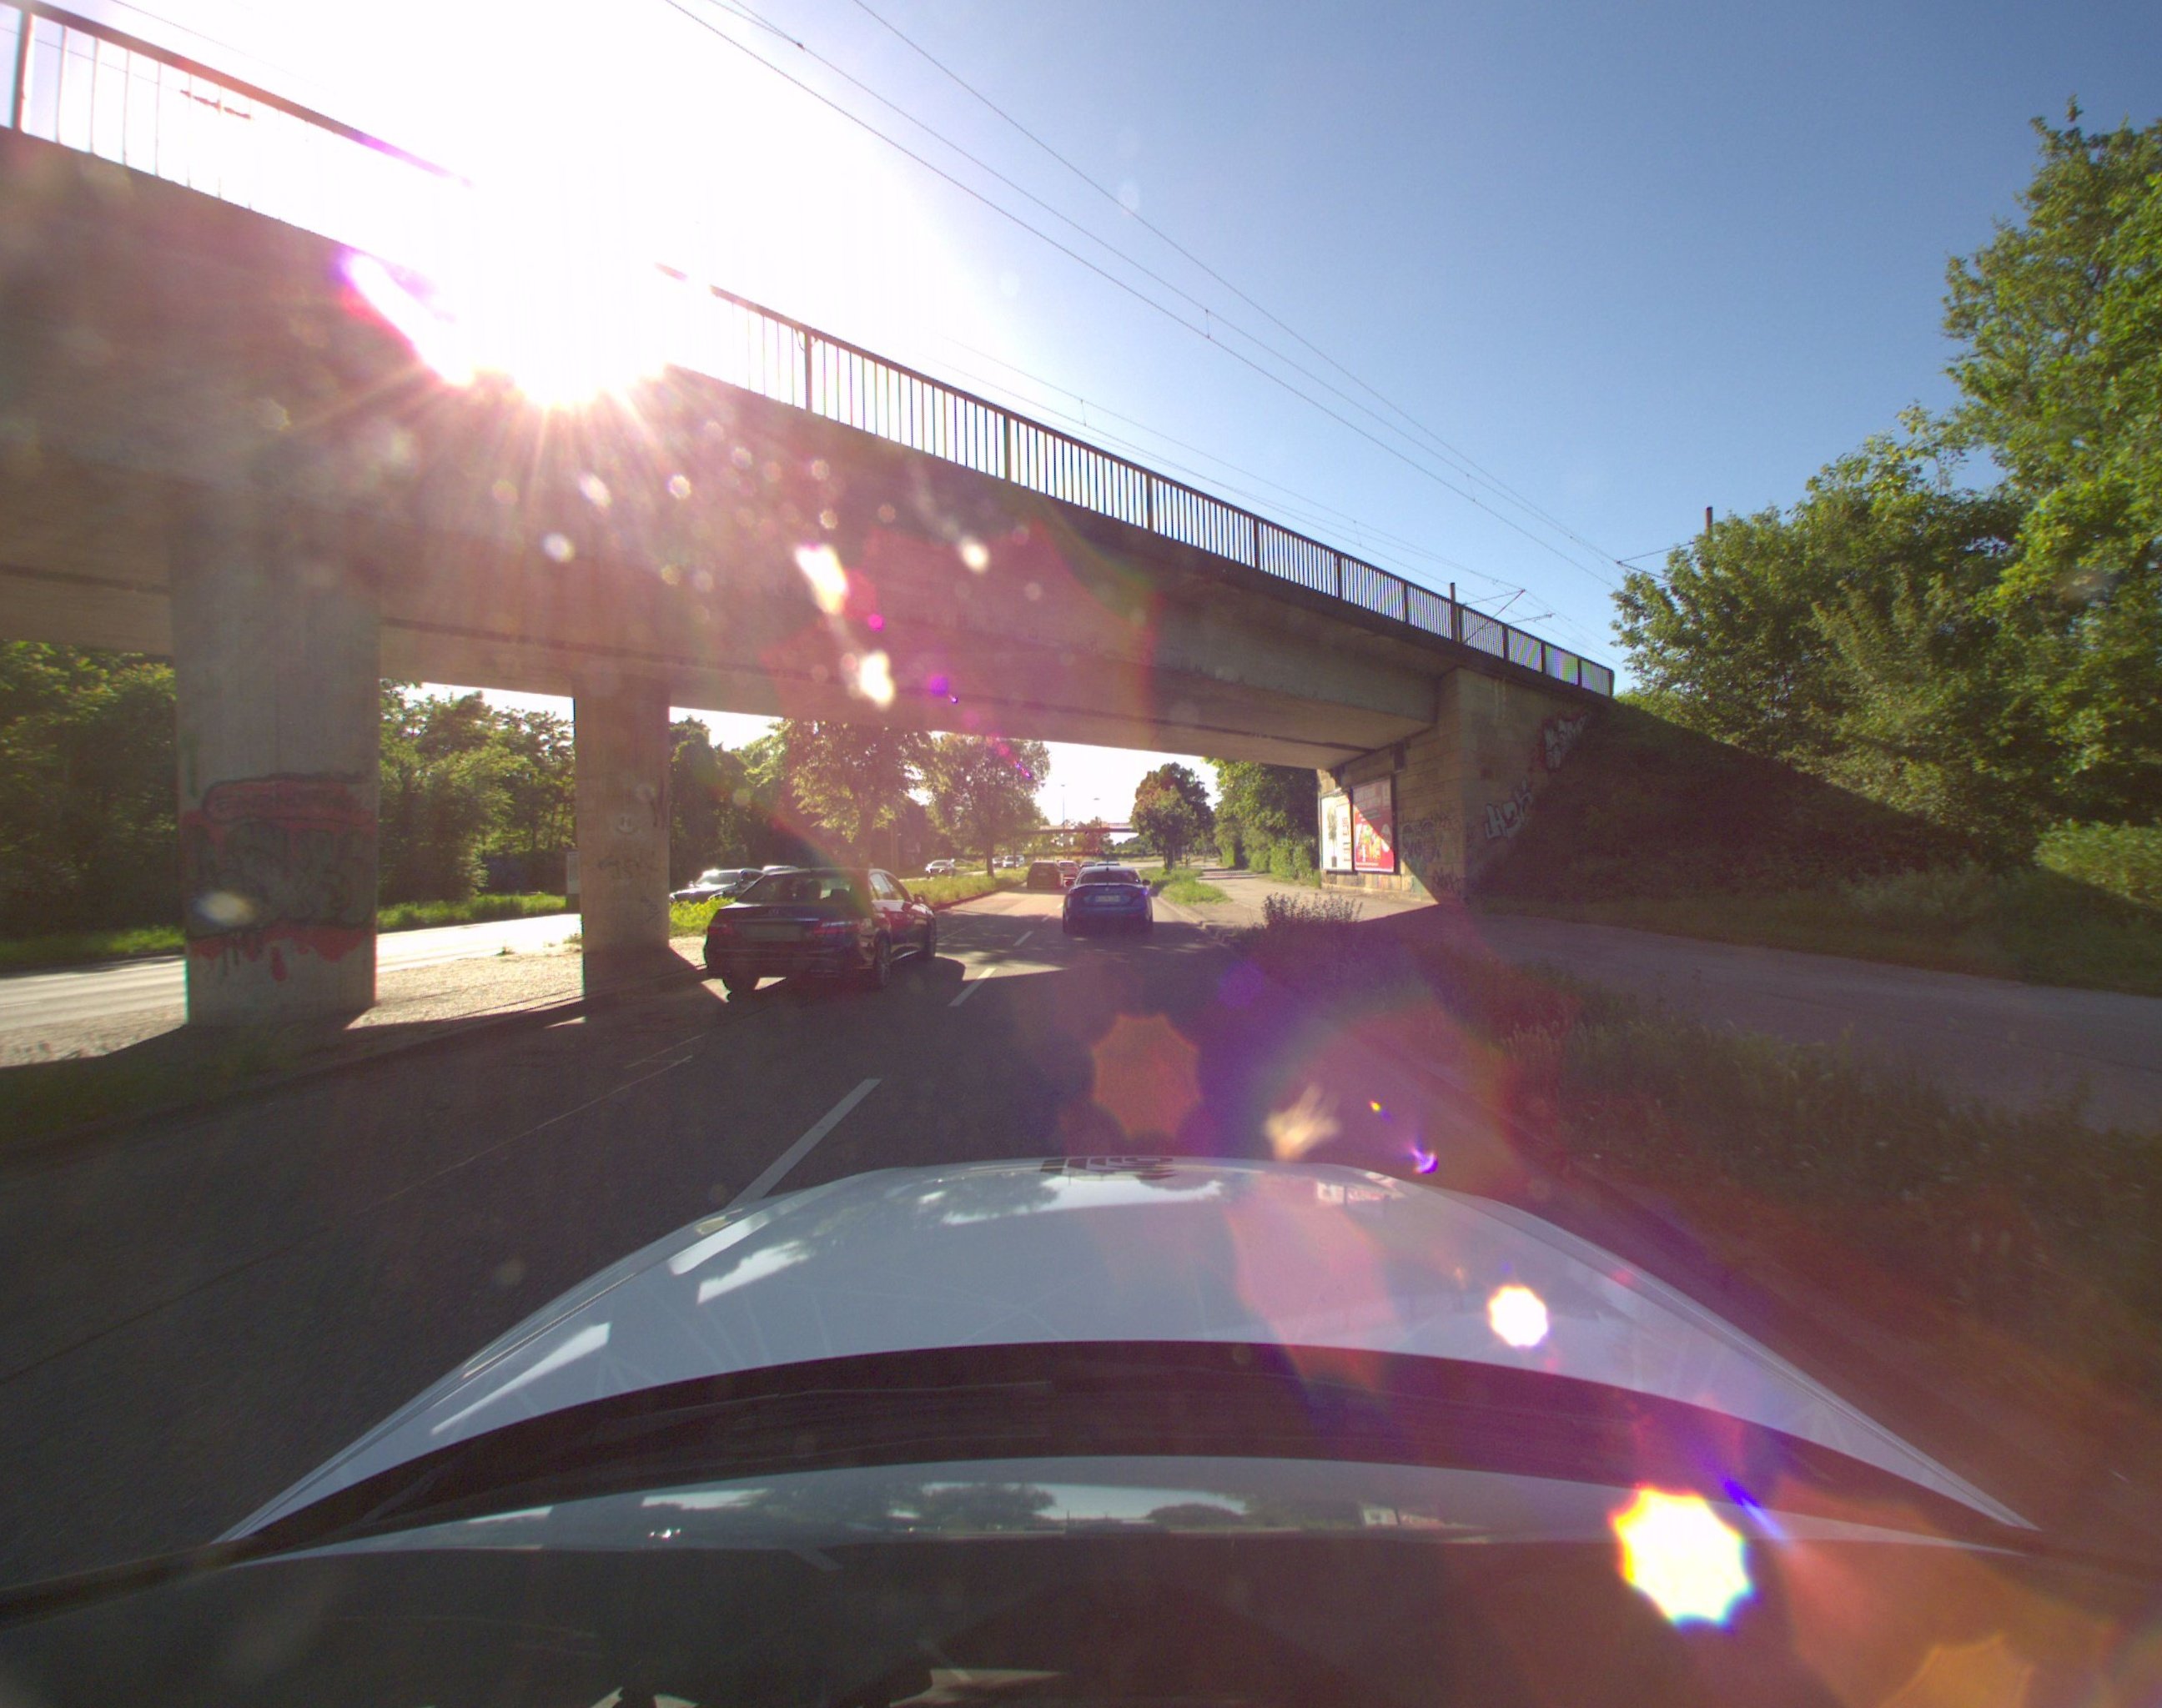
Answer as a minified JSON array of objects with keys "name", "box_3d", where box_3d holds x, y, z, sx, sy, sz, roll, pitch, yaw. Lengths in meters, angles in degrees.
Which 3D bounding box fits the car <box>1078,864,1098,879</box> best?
[{"name":"car","box_3d":[0.690,1.674,80.908,1.876,1.454,4.528,0,-1,2]}]

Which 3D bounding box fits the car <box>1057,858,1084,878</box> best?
[{"name":"car","box_3d":[-0.800,1.079,63.268,1.876,1.454,4.528,0,-1,2]}]

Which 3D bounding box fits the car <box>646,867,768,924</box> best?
[{"name":"car","box_3d":[-11.739,1.247,25.891,1.836,1.543,4.001,-4,-1,2]}]

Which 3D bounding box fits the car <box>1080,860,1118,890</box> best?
[{"name":"car","box_3d":[0.946,1.039,42.164,1.876,1.454,4.528,0,-1,2]}]

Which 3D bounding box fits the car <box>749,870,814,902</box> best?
[{"name":"car","box_3d":[-15.185,1.617,41.532,1.835,1.461,3.640,-2,-1,2]}]

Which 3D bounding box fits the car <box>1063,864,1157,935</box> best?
[{"name":"car","box_3d":[0.645,0.929,18.297,1.876,1.406,4.225,0,-1,2]}]

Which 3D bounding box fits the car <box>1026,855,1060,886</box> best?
[{"name":"car","box_3d":[-2.004,0.880,44.177,1.703,1.598,4.222,0,-1,-1]}]

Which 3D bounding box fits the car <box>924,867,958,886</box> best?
[{"name":"car","box_3d":[-12.529,1.991,73.165,1.974,1.552,4.595,0,-1,3]}]

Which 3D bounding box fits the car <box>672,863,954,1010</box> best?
[{"name":"car","box_3d":[-3.177,0.891,10.921,1.951,1.483,4.921,-1,0,2]}]

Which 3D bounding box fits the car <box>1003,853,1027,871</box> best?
[{"name":"car","box_3d":[-7.423,0.949,92.066,1.986,1.929,5.247,-1,-1,2]}]

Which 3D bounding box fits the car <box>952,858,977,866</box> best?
[{"name":"car","box_3d":[-22.160,1.526,154.430,4.269,1.650,2.010,0,-1,22]}]
